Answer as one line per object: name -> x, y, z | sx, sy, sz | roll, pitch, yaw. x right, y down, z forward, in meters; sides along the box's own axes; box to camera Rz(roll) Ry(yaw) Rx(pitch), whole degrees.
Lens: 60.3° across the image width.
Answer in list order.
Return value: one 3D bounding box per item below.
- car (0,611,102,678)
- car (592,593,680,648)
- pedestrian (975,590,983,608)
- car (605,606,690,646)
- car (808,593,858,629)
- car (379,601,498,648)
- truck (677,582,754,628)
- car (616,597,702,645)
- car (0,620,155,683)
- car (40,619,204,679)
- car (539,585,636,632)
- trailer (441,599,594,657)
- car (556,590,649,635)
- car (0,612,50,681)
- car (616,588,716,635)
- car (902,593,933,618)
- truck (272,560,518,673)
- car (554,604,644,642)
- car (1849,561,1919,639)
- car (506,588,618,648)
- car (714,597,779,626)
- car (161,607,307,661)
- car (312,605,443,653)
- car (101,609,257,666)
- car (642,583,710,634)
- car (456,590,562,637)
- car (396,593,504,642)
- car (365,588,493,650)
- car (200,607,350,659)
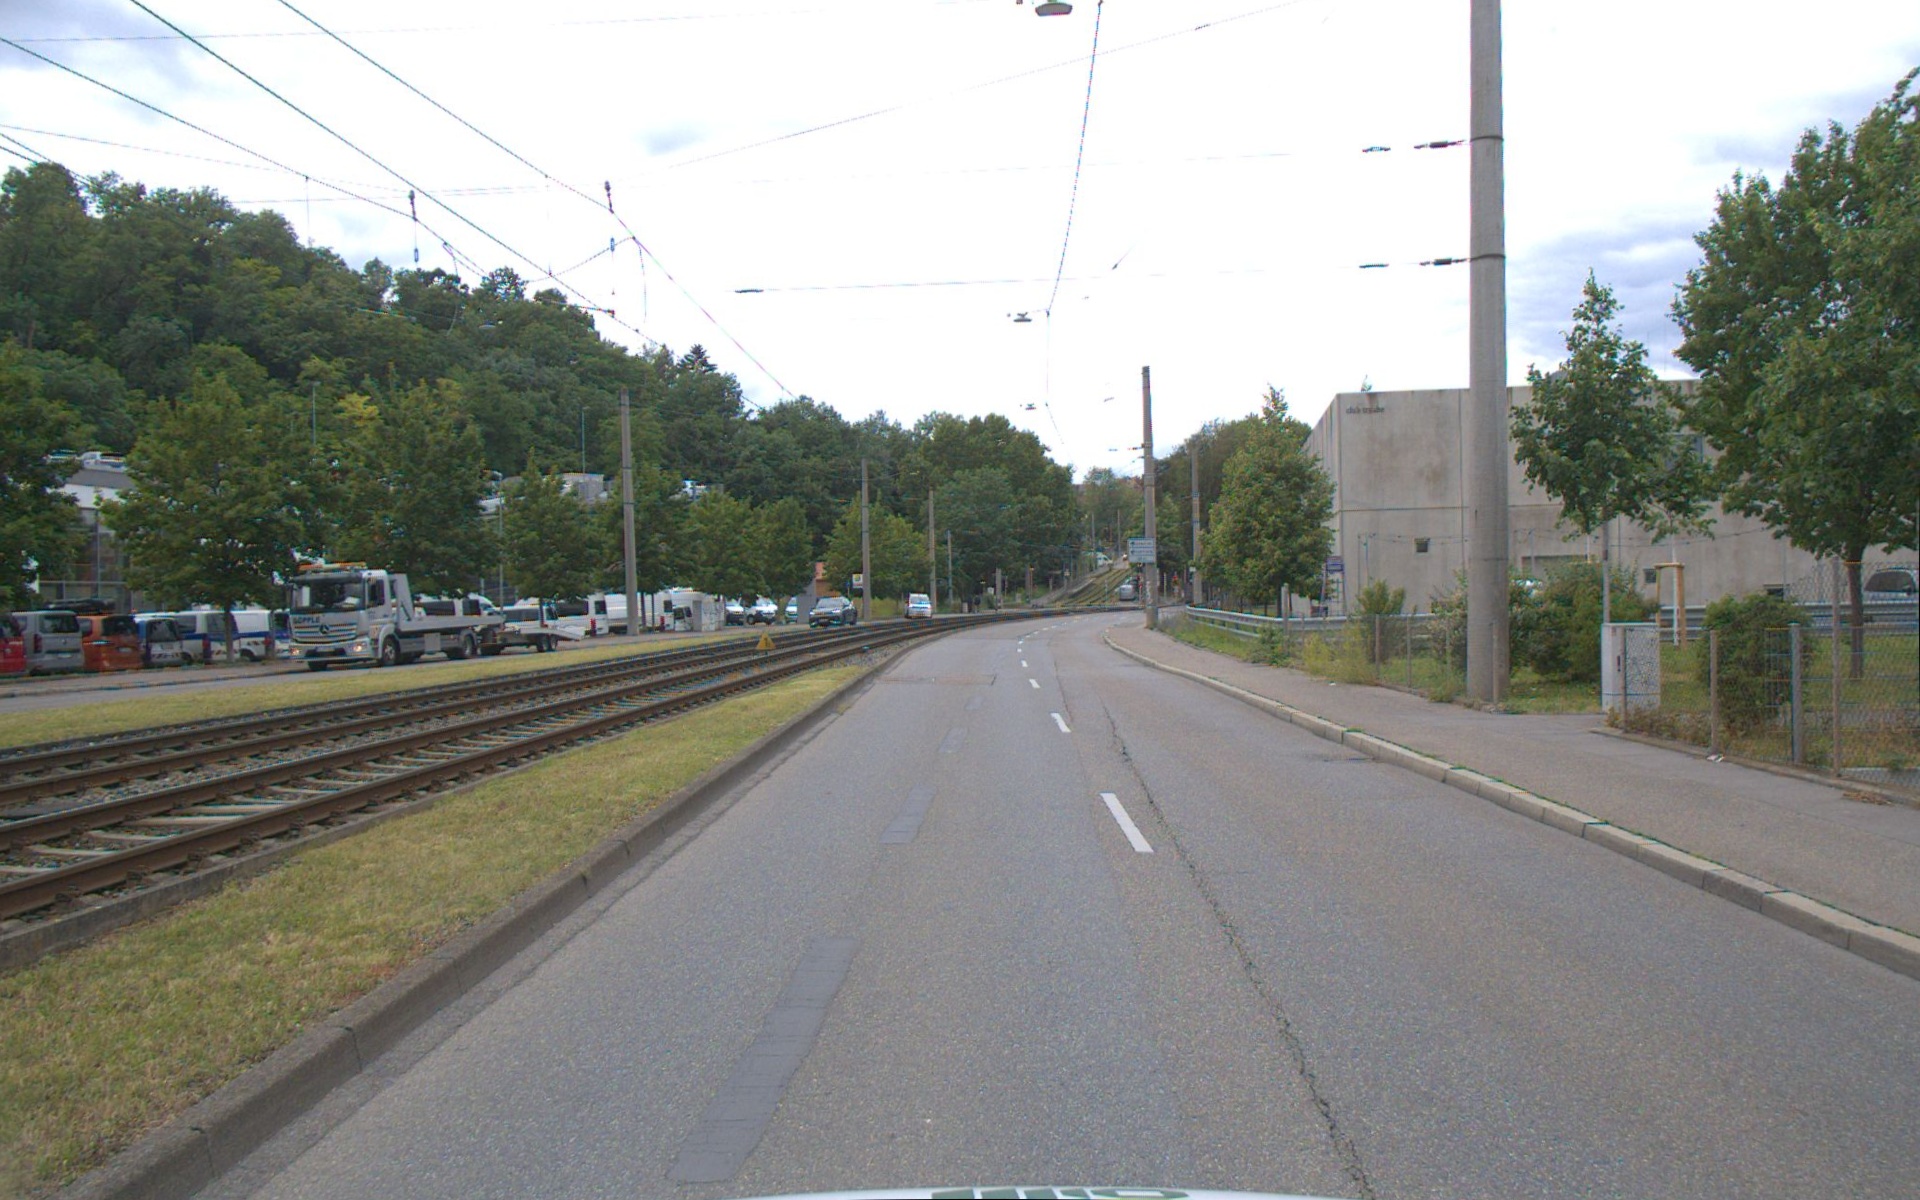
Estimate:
car -> -25.368, 1.182, 44.191 | 3.902, 1.693, 2.050 | -1, 0, 12
car -> -17.773, 1.115, 90.705 | 4.273, 2.868, 2.005 | -1, 0, 7
pedestrian -> 1.875, -0.072, 160.921 | 0.614, 1.743, 0.856 | 0, 0, 13
car -> -17.556, 1.457, 93.078 | 4.273, 2.142, 2.006 | -1, 0, 7
car -> -6.809, 0.591, 88.949 | 1.952, 1.770, 4.536 | -3, -1, 4
car -> -21.787, 1.019, 69.113 | 4.272, 1.877, 2.006 | -1, 0, 12
truck -> -17.525, 0.368, 118.506 | 5.828, 3.139, 2.109 | -1, 0, 40
car -> -17.339, 1.202, 95.509 | 4.276, 2.140, 2.006 | 8, 1, 7
car -> -24.991, 1.443, 46.416 | 3.902, 1.646, 2.002 | -1, 0, 12
car -> -24.683, 1.434, 48.763 | 3.902, 1.646, 2.002 | -1, 0, 12
car -> -18.695, 0.421, 83.087 | 4.273, 2.211, 2.006 | -1, 0, 7
trailer -> -14.697, 0.881, 55.461 | 2.332, 1.727, 6.953 | -3, 0, 8
car -> -18.472, 0.638, 85.580 | 4.273, 2.211, 2.006 | -1, 0, 7
car -> -25.372, 1.187, 41.471 | 4.089, 1.646, 2.065 | -1, 0, 12
car -> -17.485, 0.687, 98.559 | 5.355, 2.647, 2.249 | -1, 0, 11
car -> -3.434, 0.442, 133.695 | 2.118, 1.921, 5.066 | 1, 0, -6
truck -> -15.889, 0.407, 47.479 | 2.697, 2.789, 9.226 | -3, 0, 8
car -> -19.283, 1.227, 88.424 | 4.273, 1.944, 2.006 | -1, 0, 7
car -> 22.727, -0.028, 38.521 | 1.871, 1.750, 4.691 | -1, 0, 5
car -> -19.350, 0.867, 80.522 | 4.860, 2.746, 2.117 | -1, 0, 7
car -> -15.555, 0.851, 120.569 | 4.639, 2.049, 1.991 | -1, 0, 38
car -> -23.585, 1.107, 53.765 | 3.902, 1.646, 2.002 | -1, 0, 12
car -> -22.447, 1.117, 63.857 | 4.272, 1.718, 2.033 | -1, 0, 7
car -> -24.075, 1.140, 51.038 | 3.902, 1.646, 2.002 | -1, 0, 12
car -> -17.784, 0.519, 103.767 | 2.063, 3.072, 5.942 | -1, 0, 12
car -> -20.842, 0.627, 76.537 | 4.273, 2.045, 2.006 | -1, 0, 7
car -> -29.256, 0.995, 94.979 | 5.844, 2.647, 1.993 | -1, 0, -19
car -> -21.326, 0.754, 66.475 | 4.400, 2.352, 2.127 | -1, 0, 12
car -> -23.133, 1.095, 55.891 | 4.272, 1.646, 2.006 | -1, 0, 12
